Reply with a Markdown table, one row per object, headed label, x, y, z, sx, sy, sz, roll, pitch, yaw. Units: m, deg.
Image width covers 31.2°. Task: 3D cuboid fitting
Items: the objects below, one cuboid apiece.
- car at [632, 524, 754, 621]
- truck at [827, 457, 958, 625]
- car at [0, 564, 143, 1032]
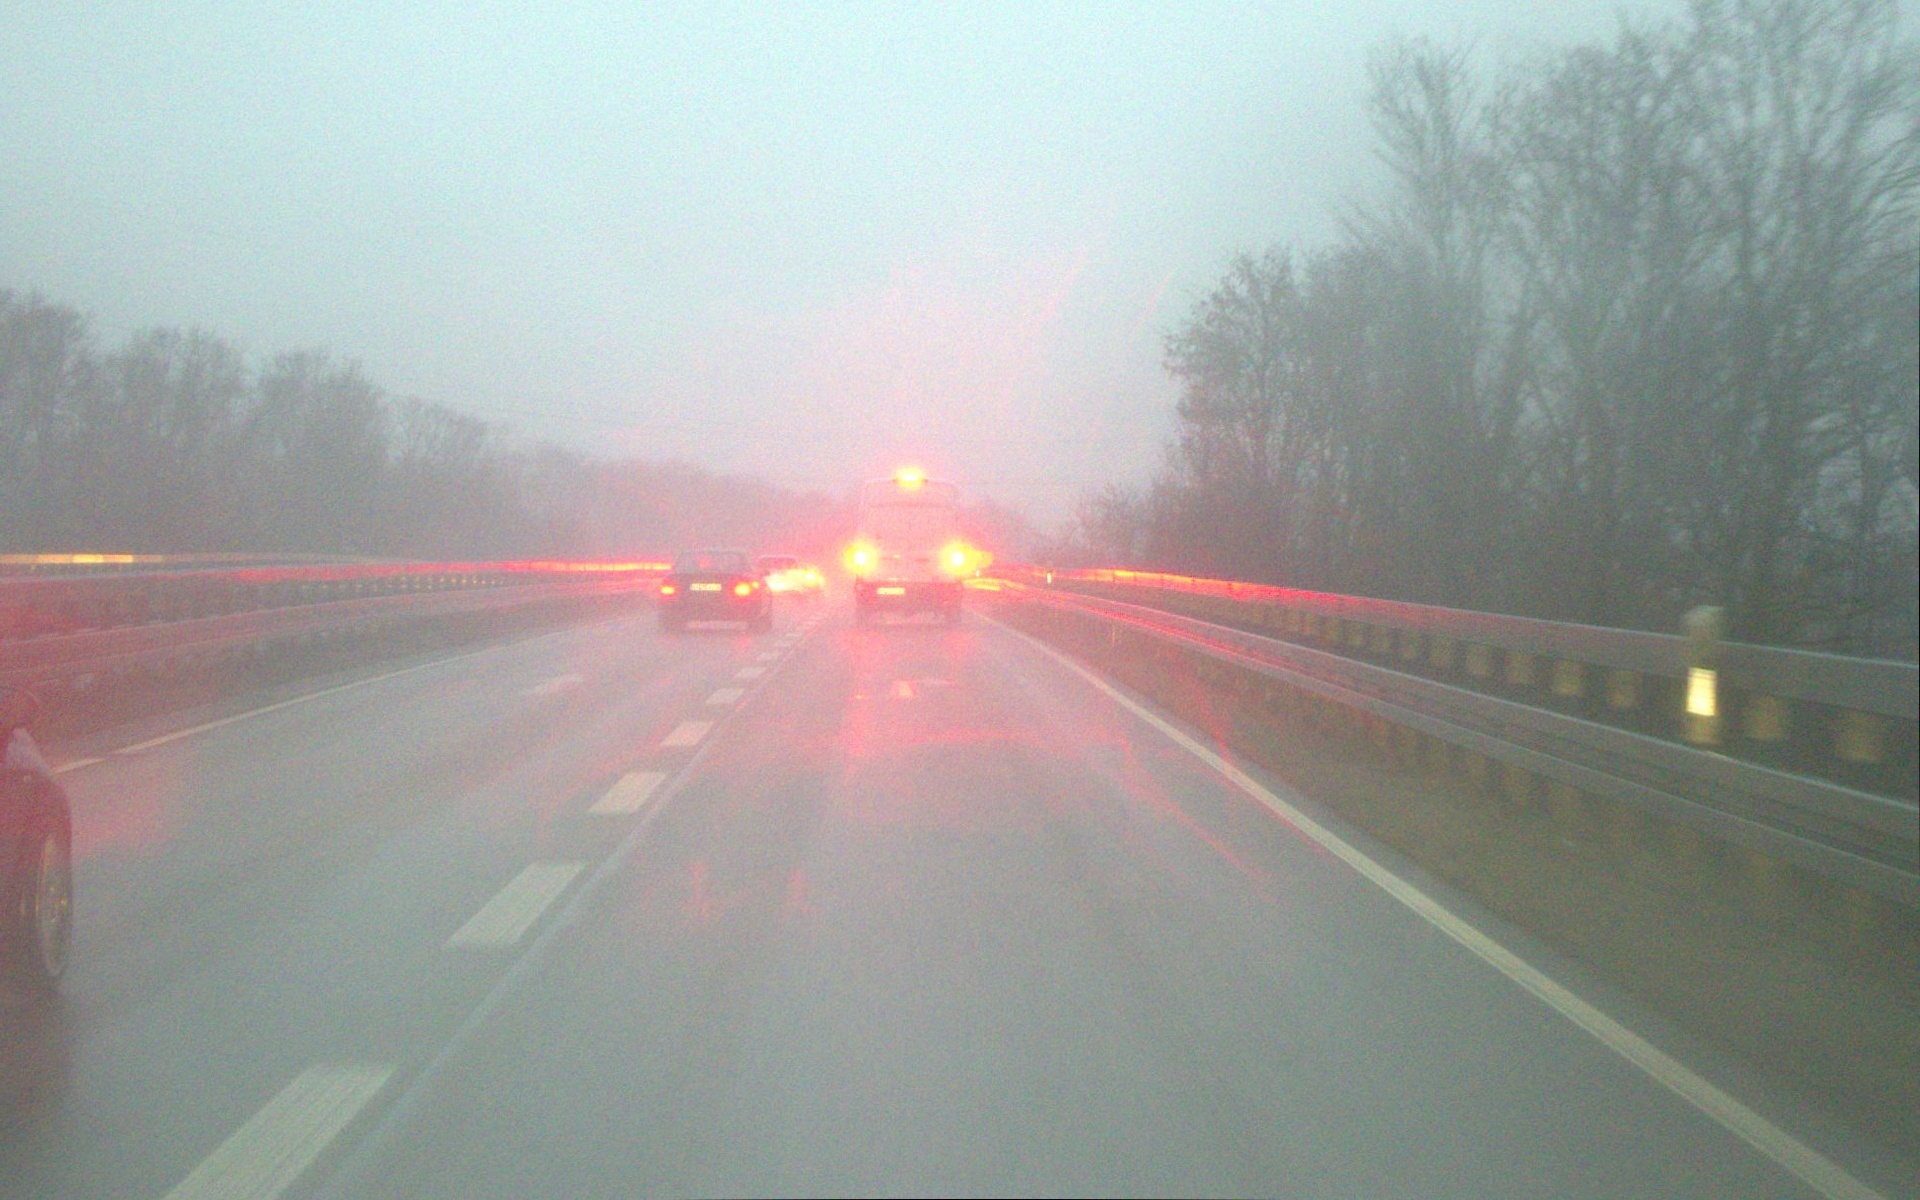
| label | x | y | z | sx | sy | sz | roll | pitch | yaw |
| --- | --- | --- | --- | --- | --- | --- | --- | --- | --- |
| car | -4.567 | -0.447 | 59.239 | 1.834 | 1.532 | 4.000 | 1 | -1 | -1 |
| truck | -1.263 | -1.059 | 65.135 | 2.382 | 2.899 | 4.674 | 0 | -3 | -1 |
| car | -3.682 | 0.609 | 10.292 | 1.625 | 1.387 | 4.000 | -2 | 0 | -2 |
